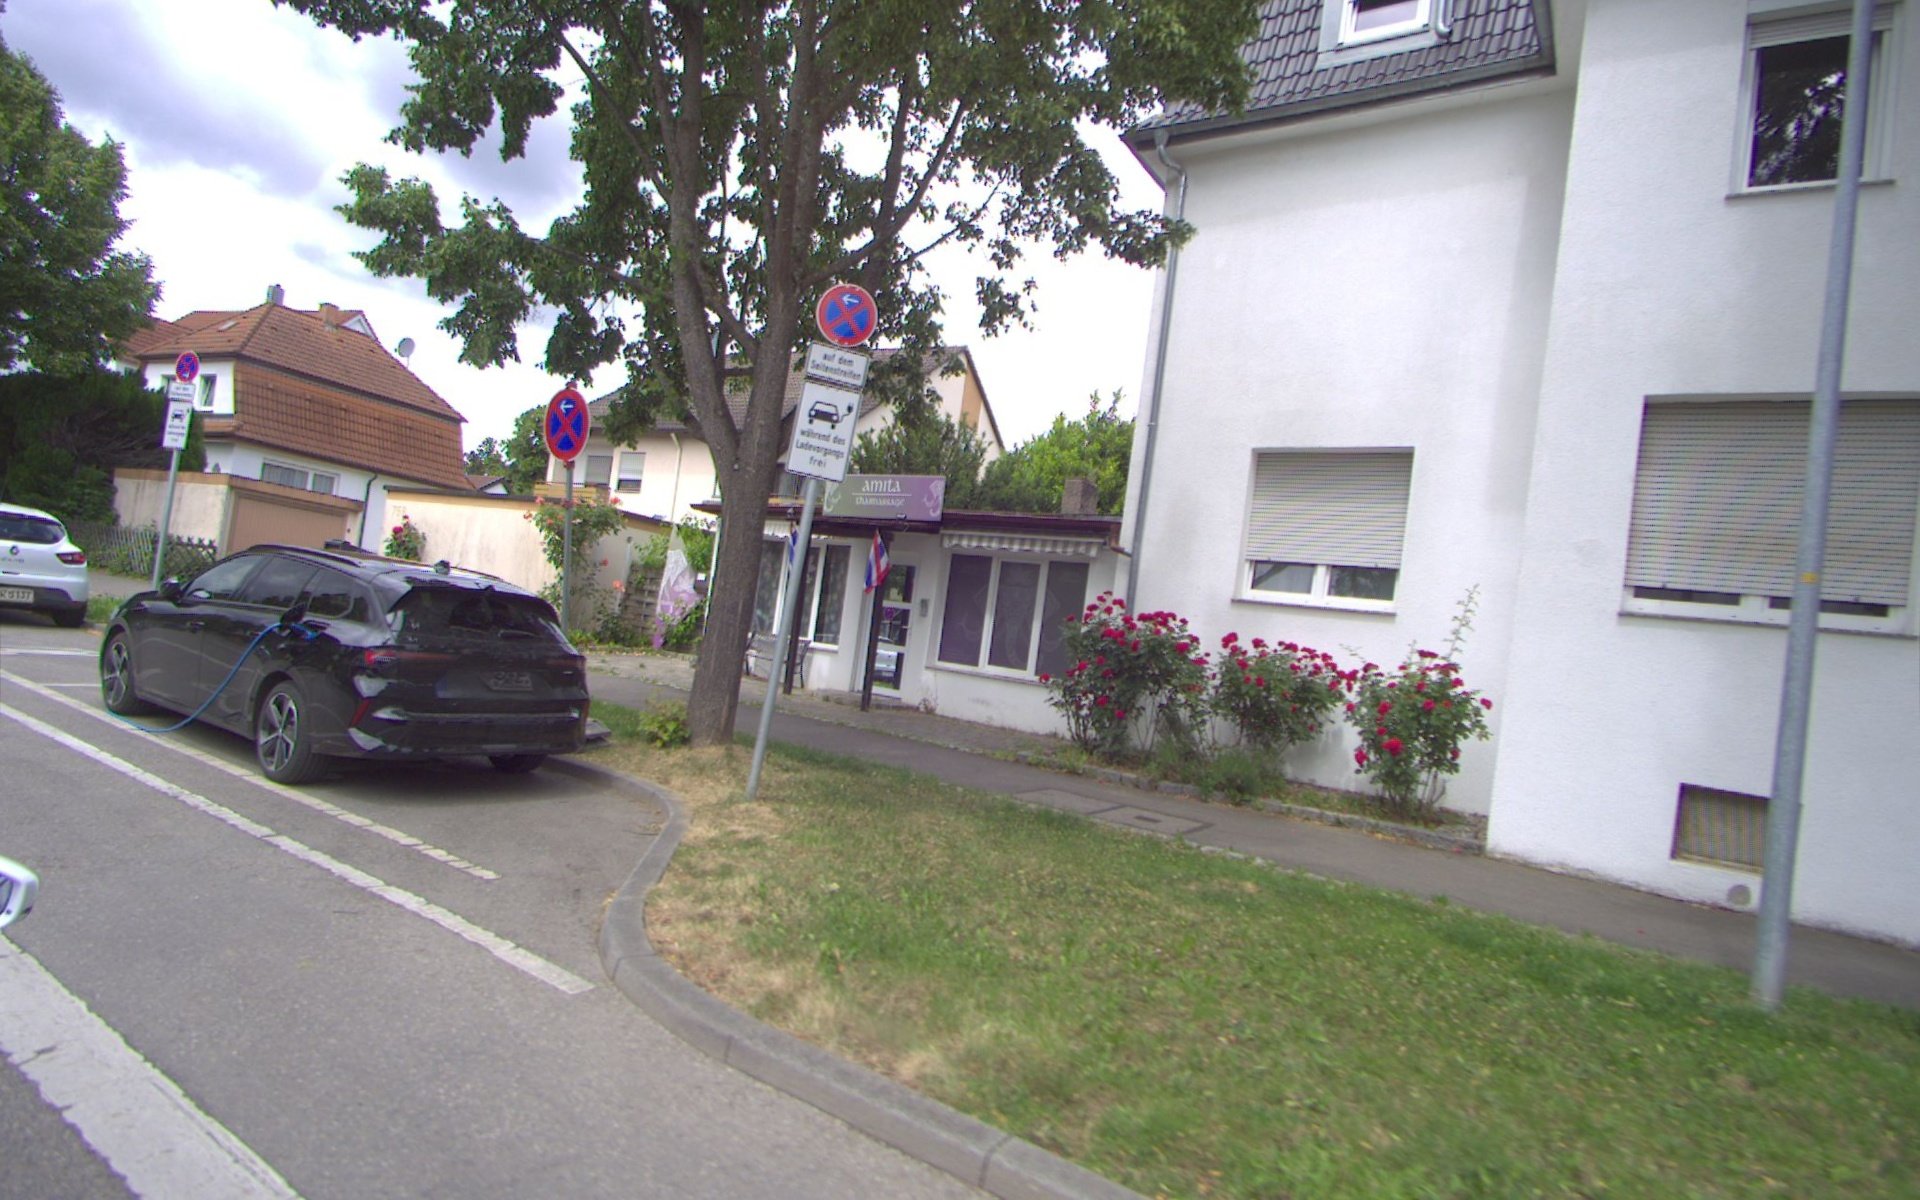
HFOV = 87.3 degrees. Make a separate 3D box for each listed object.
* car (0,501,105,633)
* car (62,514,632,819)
[{"bbox_3d":[-12.822,-0.597,12.816,3.933,1.479,1.675,7,-1,31],"label":"car"},{"bbox_3d":[-4.719,0.343,7.509,4.541,1.472,1.708,7,-1,33],"label":"car"}]
